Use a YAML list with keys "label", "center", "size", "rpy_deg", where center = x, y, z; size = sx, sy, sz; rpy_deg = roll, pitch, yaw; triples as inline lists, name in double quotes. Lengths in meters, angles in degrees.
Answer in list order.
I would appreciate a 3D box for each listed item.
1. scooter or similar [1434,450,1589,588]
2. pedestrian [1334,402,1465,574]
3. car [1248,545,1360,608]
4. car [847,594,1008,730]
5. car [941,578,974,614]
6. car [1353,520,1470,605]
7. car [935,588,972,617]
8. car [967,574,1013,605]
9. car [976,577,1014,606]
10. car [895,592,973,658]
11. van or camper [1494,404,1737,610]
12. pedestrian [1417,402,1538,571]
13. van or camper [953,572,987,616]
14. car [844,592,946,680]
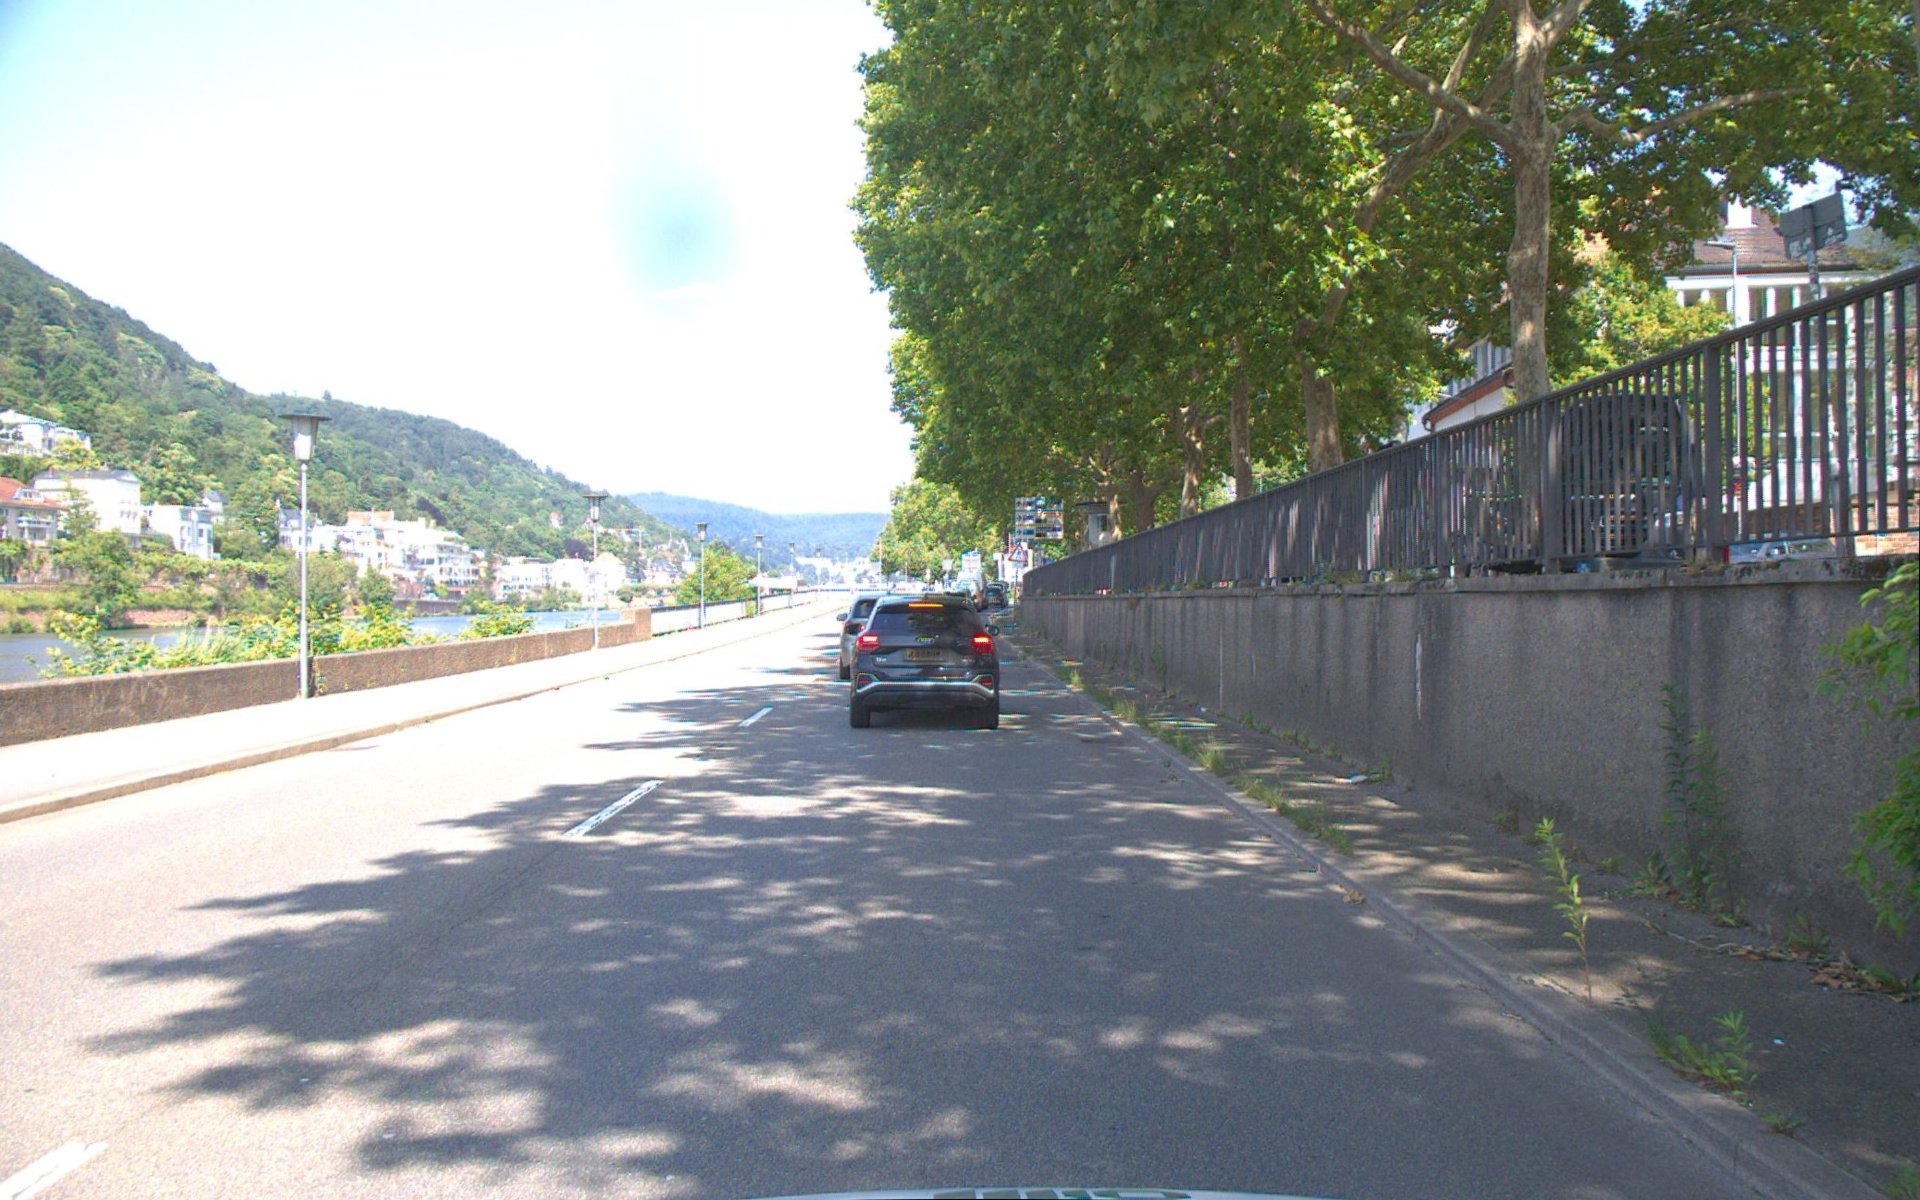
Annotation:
- label: "scooter or similar"
  center: [4.555, -0.647, 13.733]
  size: [0.838, 1.044, 1.107]
  rpy_deg: [-3, 0, -2]
- label: "pedestrian"
  center: [4.369, -1.093, 16.508]
  size: [0.918, 1.607, 1.027]
  rpy_deg: [-3, 0, -3]
- label: "car"
  center: [8.626, -0.564, 41.265]
  size: [1.740, 1.495, 3.995]
  rpy_deg: [0, 0, 27]
- label: "car"
  center: [-0.418, 0.684, 20.450]
  size: [1.791, 1.512, 3.999]
  rpy_deg: [0, 0, -2]
- label: "car"
  center: [-0.156, -0.234, 103.564]
  size: [1.953, 2.207, 3.999]
  rpy_deg: [-1, 0, -2]
- label: "car"
  center: [8.790, -0.676, 32.011]
  size: [1.616, 1.526, 3.816]
  rpy_deg: [0, 0, 24]
- label: "car"
  center: [-0.347, 0.112, 83.739]
  size: [1.791, 1.470, 3.999]
  rpy_deg: [0, 0, -2]
- label: "car"
  center: [2.200, -0.772, 122.527]
  size: [3.036, 2.048, 5.822]
  rpy_deg: [-3, 0, -2]
- label: "car"
  center: [2.767, -0.659, 131.074]
  size: [2.608, 2.048, 5.822]
  rpy_deg: [-3, 0, -2]
- label: "car"
  center: [-0.653, 0.563, 40.126]
  size: [1.791, 1.512, 3.999]
  rpy_deg: [0, 0, -2]
- label: "van or camper"
  center: [9.278, -1.088, 22.888]
  size: [2.293, 2.222, 7.346]
  rpy_deg: [2, -1, 28]
- label: "pedestrian"
  center: [4.538, -0.977, 14.559]
  size: [0.666, 1.389, 0.989]
  rpy_deg: [-3, 0, -2]
- label: "van or camper"
  center: [0.682, -0.393, 112.523]
  size: [2.262, 2.897, 4.246]
  rpy_deg: [-1, 0, 0]
- label: "car"
  center: [-1.206, 0.631, 31.135]
  size: [1.791, 1.537, 3.999]
  rpy_deg: [0, 0, -2]
